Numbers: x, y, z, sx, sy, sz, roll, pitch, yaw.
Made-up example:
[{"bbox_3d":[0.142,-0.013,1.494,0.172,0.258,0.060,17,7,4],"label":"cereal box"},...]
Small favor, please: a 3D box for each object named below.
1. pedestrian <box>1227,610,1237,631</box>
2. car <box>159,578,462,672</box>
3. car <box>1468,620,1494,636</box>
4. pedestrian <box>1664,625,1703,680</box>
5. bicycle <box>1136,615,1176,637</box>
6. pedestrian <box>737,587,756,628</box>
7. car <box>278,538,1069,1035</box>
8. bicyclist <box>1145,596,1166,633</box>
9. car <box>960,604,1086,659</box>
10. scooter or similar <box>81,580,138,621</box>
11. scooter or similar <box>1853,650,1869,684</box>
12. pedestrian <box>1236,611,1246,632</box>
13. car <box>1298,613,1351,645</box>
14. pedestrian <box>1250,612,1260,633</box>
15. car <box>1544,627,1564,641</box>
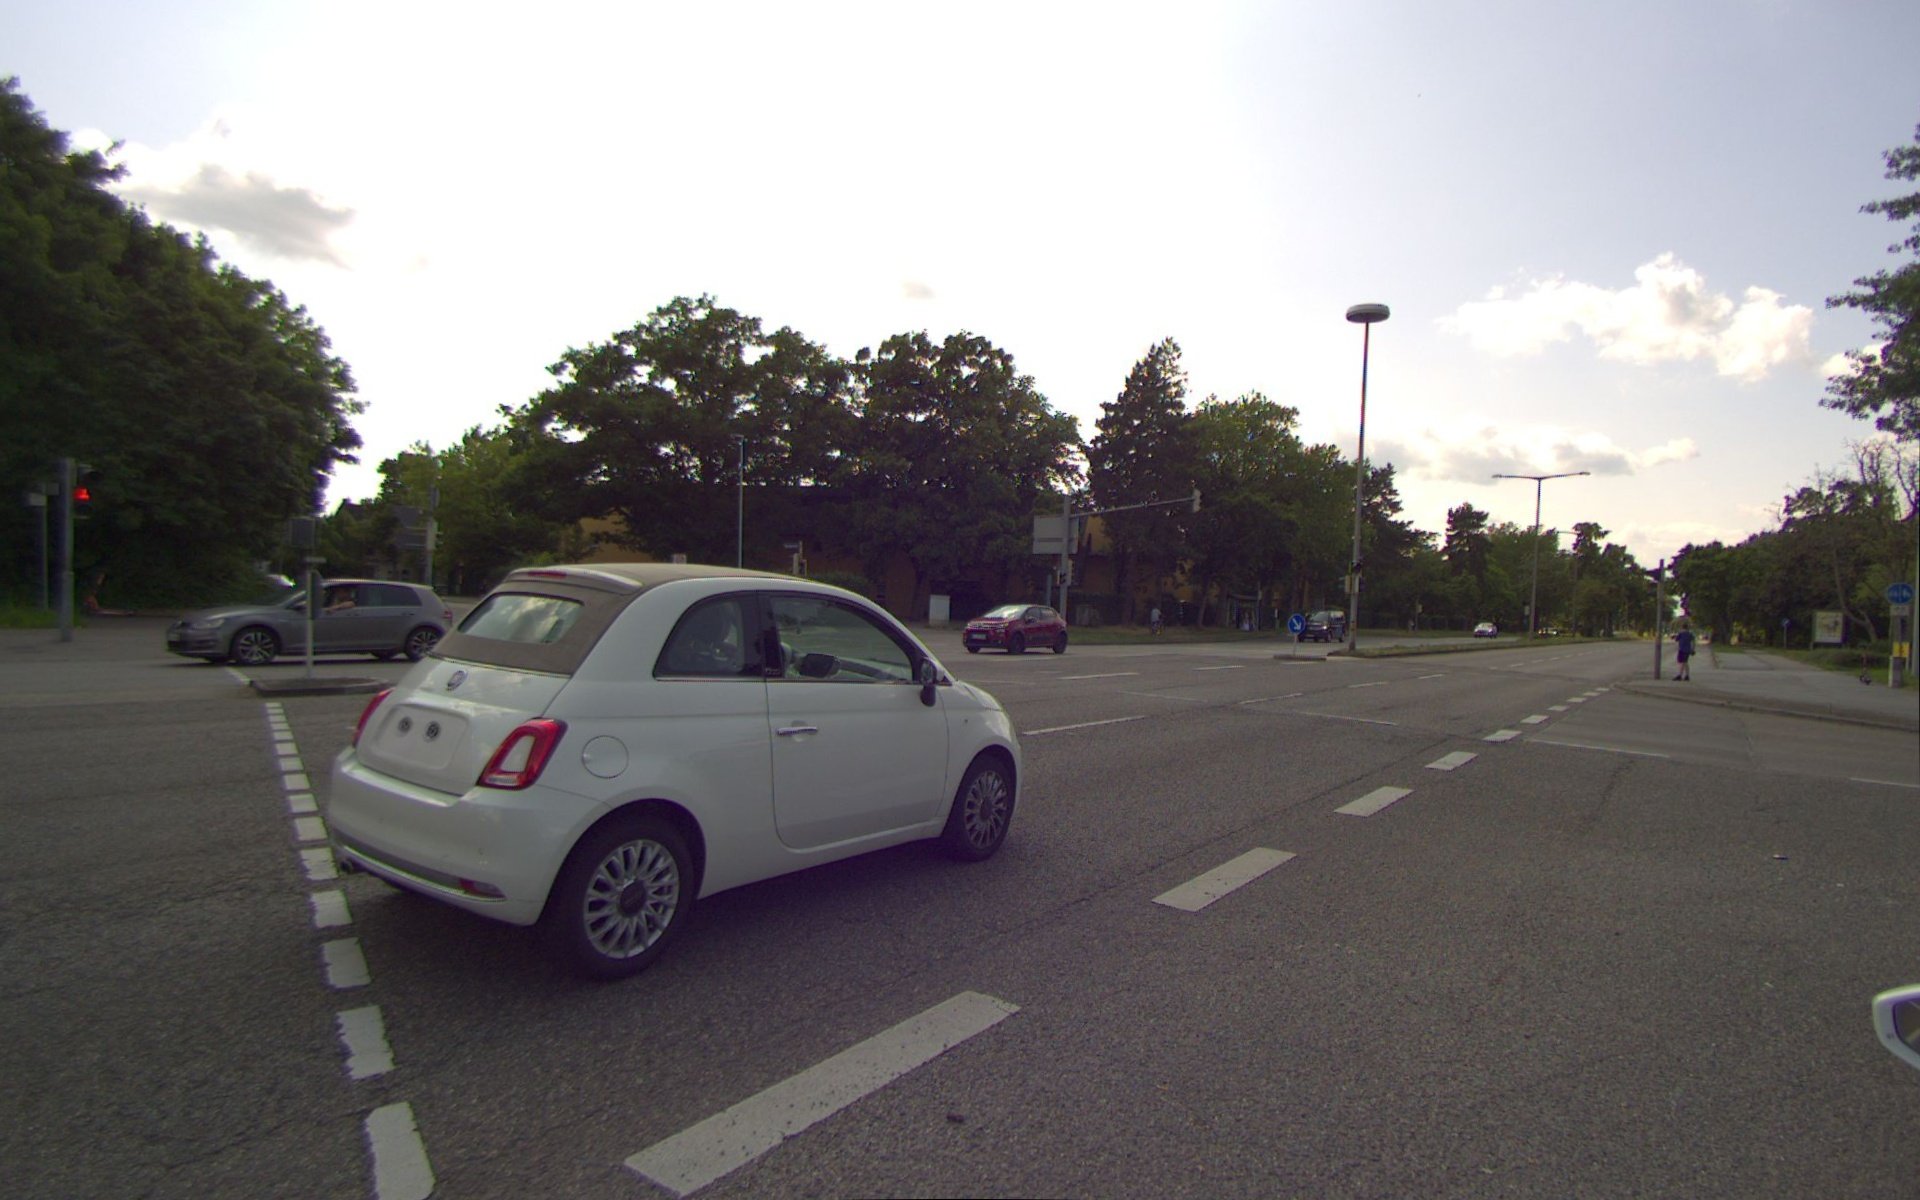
[{"bbox_3d":[20.578,1.556,75.921,0.560,1.515,0.421,4,1,22],"label":"pedestrian"},{"bbox_3d":[-11.008,0.426,17.294,1.574,1.391,4.066,2,0,37],"label":"car"},{"bbox_3d":[58.370,3.173,112.500,1.835,1.728,4.441,2,0,36],"label":"car"},{"bbox_3d":[21.052,1.511,29.229,0.713,1.552,0.759,2,0,21],"label":"pedestrian"},{"bbox_3d":[10.931,1.463,56.090,2.085,1.134,0.753,2,0,-23],"label":"bicycle"},{"bbox_3d":[-9.327,0.323,43.843,0.680,1.765,0.704,2,0,-8],"label":"pedestrian"},{"bbox_3d":[-1.031,0.595,4.961,1.549,1.517,3.528,2,0,36],"label":"car"},{"bbox_3d":[10.935,0.824,56.085,0.820,2.040,0.749,2,0,-23],"label":"bicyclist"},{"bbox_3d":[1.991,0.945,30.436,1.747,1.484,4.443,2,0,34],"label":"car"},{"bbox_3d":[-21.109,0.026,24.942,0.293,0.954,1.030,5,1,44],"label":"scooter or similar"},{"bbox_3d":[26.825,1.985,29.924,0.218,0.992,1.267,2,0,37],"label":"scooter or similar"},{"bbox_3d":[21.183,1.605,75.639,0.560,1.515,0.421,4,1,22],"label":"pedestrian"},{"bbox_3d":[22.859,1.818,62.897,1.743,1.882,4.799,2,0,37],"label":"car"},{"bbox_3d":[22.322,1.692,76.035,0.560,1.515,0.421,4,1,22],"label":"pedestrian"},{"bbox_3d":[77.174,4.441,130.472,1.835,1.728,4.442,2,-1,35],"label":"car"}]
